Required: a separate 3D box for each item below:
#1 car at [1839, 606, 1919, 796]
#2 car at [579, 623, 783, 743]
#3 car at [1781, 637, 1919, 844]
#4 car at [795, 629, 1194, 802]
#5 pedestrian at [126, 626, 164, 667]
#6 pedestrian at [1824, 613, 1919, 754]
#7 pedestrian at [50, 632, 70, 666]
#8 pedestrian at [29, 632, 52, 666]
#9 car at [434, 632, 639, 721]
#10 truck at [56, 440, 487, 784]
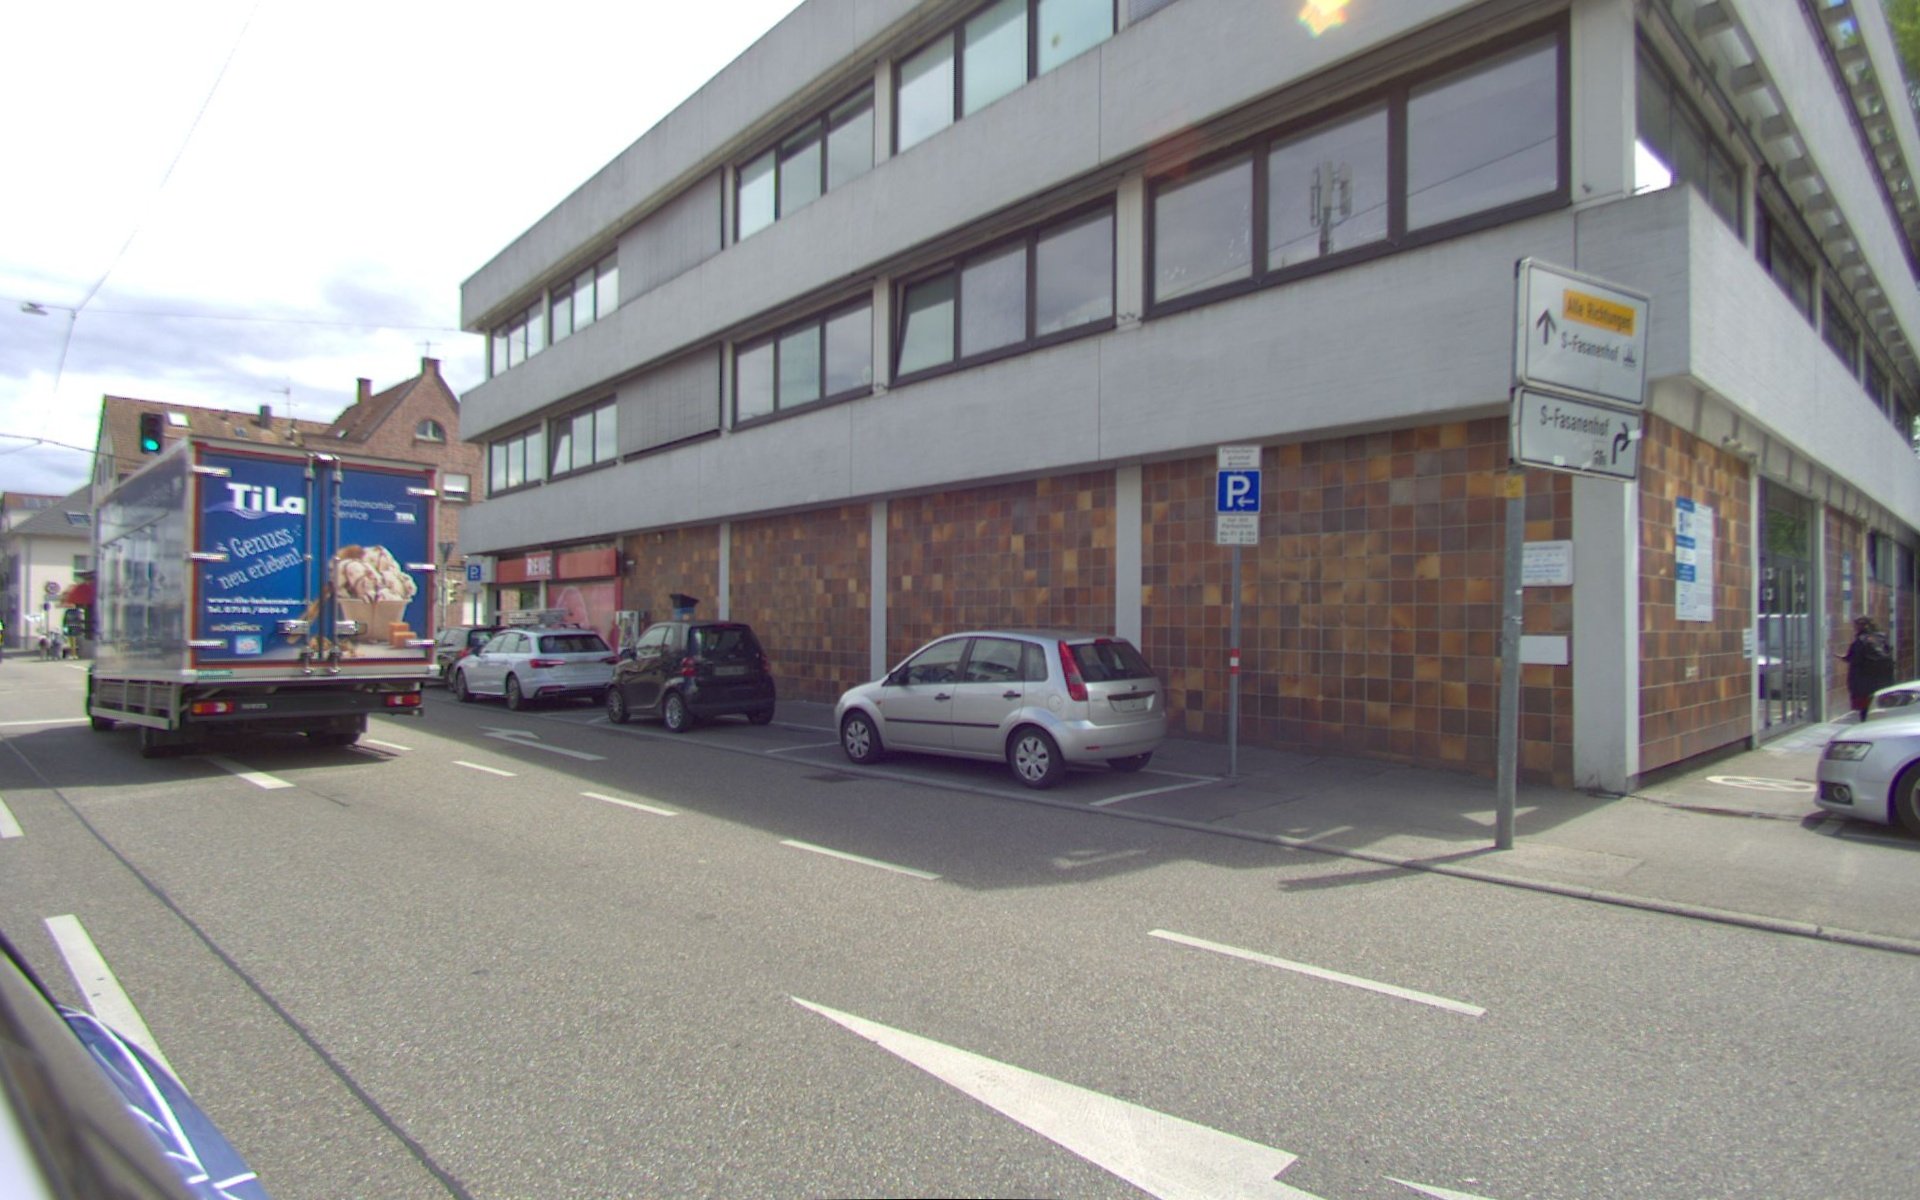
[{"bbox_3d":[10.249,0.862,7.836,1.927,1.632,4.937,5,-5,-40],"label":"car"},{"bbox_3d":[-4.249,1.160,15.212,1.716,1.568,3.059,0,-2,-43],"label":"car"},{"bbox_3d":[8.263,0.920,6.145,1.928,1.368,4.860,2,-3,-43],"label":"car"},{"bbox_3d":[0.195,1.053,10.682,4.149,1.433,1.703,-2,-2,44],"label":"car"},{"bbox_3d":[-35.107,2.015,43.603,0.839,1.736,0.906,0,-2,1],"label":"pedestrian"},{"bbox_3d":[11.534,1.029,12.649,0.708,1.684,0.996,4,-4,-41],"label":"pedestrian"},{"bbox_3d":[-46.172,2.511,51.928,0.673,1.729,0.878,2,-3,-41],"label":"pedestrian"},{"bbox_3d":[-46.799,2.481,51.515,0.767,1.708,0.797,2,-3,-41],"label":"pedestrian"},{"bbox_3d":[-8.226,1.362,19.395,2.020,1.455,4.956,0,-2,-43],"label":"car"},{"bbox_3d":[-9.187,0.228,12.982,8.089,3.116,2.822,-2,-3,43],"label":"truck"}]
